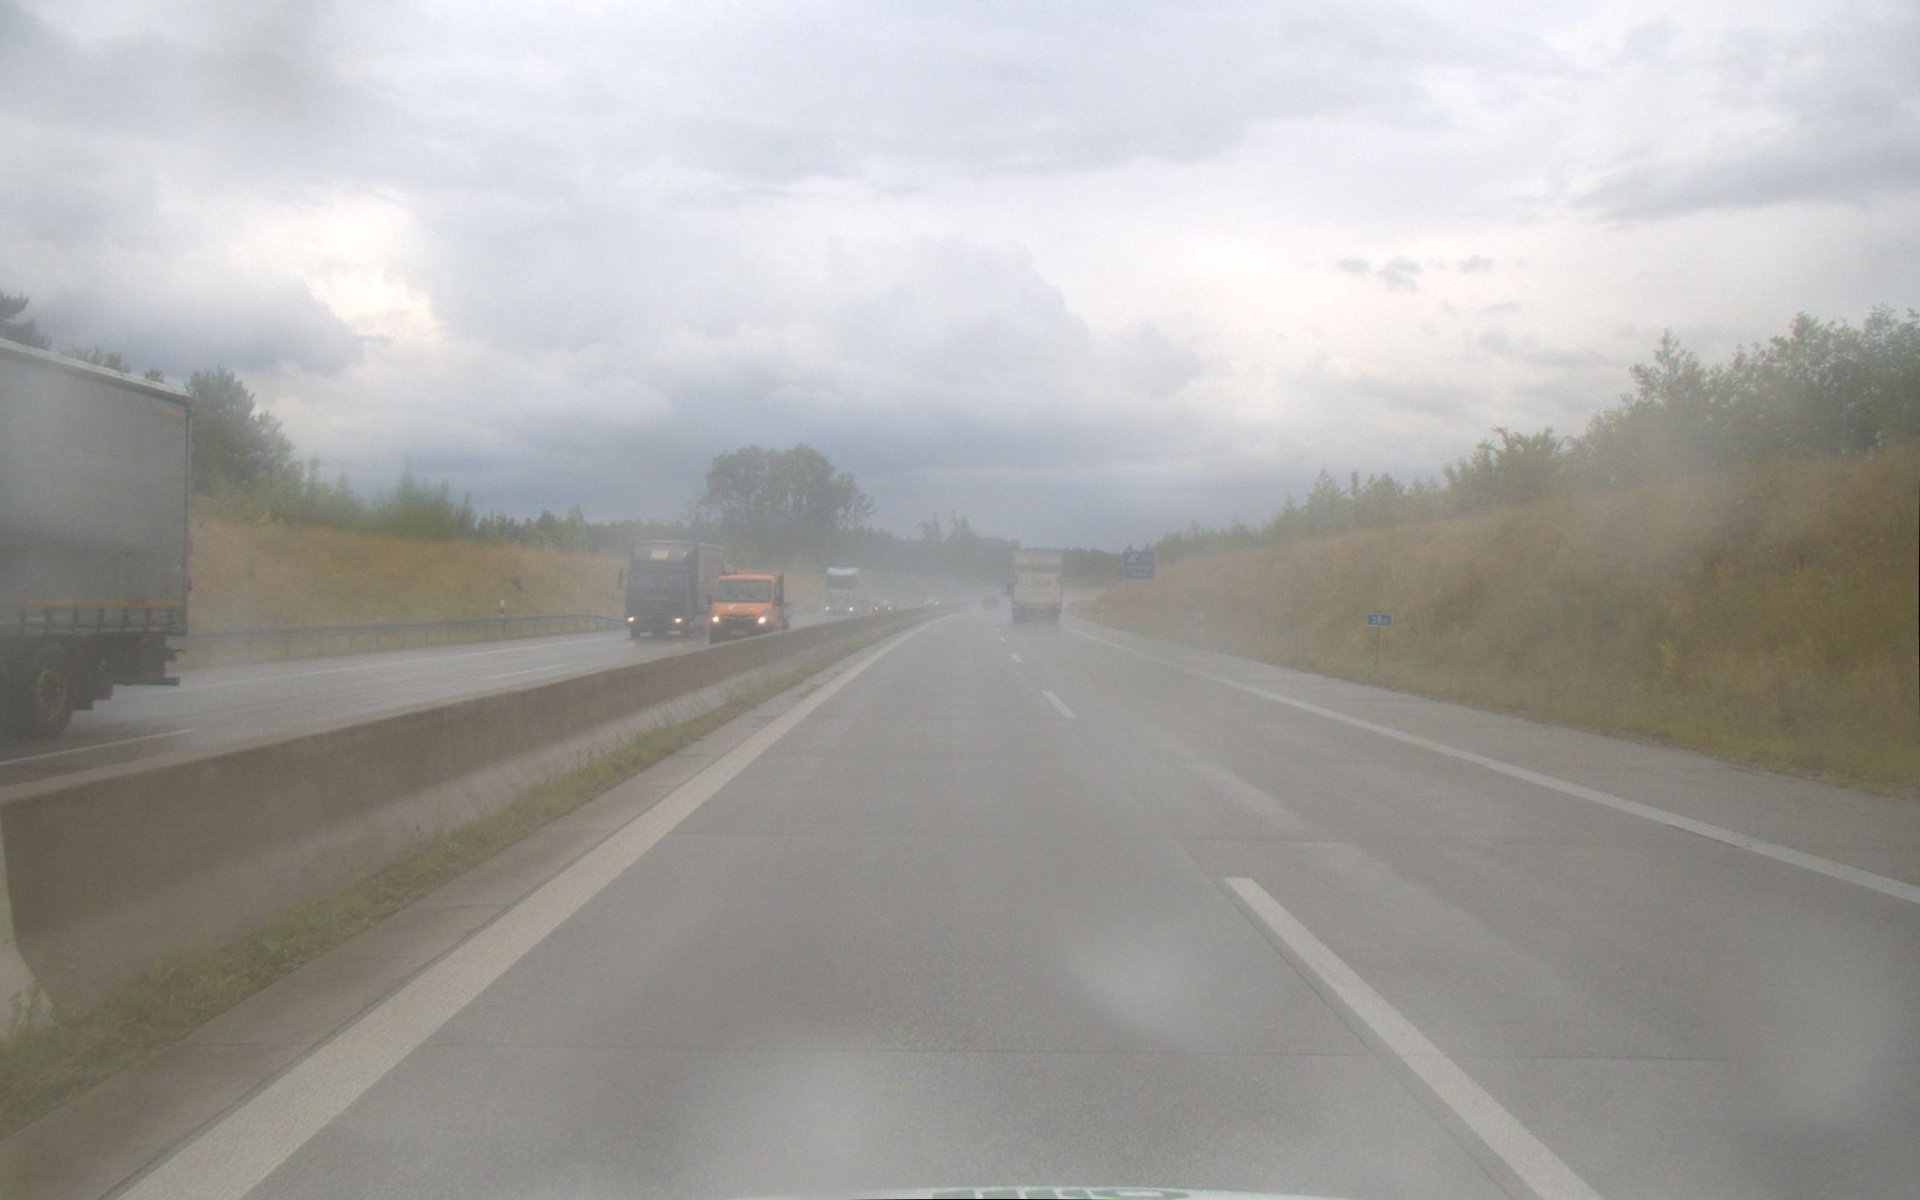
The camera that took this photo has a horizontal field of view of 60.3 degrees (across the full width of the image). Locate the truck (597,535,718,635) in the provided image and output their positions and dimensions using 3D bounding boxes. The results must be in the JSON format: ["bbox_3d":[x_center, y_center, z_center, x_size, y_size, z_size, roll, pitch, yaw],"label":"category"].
[{"bbox_3d":[-11.451,-0.556,63.383,3.103,3.595,8.365,0,0,0],"label":"truck"}]

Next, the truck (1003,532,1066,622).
[{"bbox_3d":[3.919,-1.244,87.696,3.176,4.514,8.249,0,1,2],"label":"truck"}]

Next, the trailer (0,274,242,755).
[{"bbox_3d":[-10.583,-0.831,15.419,2.789,4.599,11.338,1,0,0],"label":"trailer"}]

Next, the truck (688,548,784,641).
[{"bbox_3d":[-7.146,-0.194,53.512,2.285,2.830,6.161,0,0,0],"label":"truck"}]
